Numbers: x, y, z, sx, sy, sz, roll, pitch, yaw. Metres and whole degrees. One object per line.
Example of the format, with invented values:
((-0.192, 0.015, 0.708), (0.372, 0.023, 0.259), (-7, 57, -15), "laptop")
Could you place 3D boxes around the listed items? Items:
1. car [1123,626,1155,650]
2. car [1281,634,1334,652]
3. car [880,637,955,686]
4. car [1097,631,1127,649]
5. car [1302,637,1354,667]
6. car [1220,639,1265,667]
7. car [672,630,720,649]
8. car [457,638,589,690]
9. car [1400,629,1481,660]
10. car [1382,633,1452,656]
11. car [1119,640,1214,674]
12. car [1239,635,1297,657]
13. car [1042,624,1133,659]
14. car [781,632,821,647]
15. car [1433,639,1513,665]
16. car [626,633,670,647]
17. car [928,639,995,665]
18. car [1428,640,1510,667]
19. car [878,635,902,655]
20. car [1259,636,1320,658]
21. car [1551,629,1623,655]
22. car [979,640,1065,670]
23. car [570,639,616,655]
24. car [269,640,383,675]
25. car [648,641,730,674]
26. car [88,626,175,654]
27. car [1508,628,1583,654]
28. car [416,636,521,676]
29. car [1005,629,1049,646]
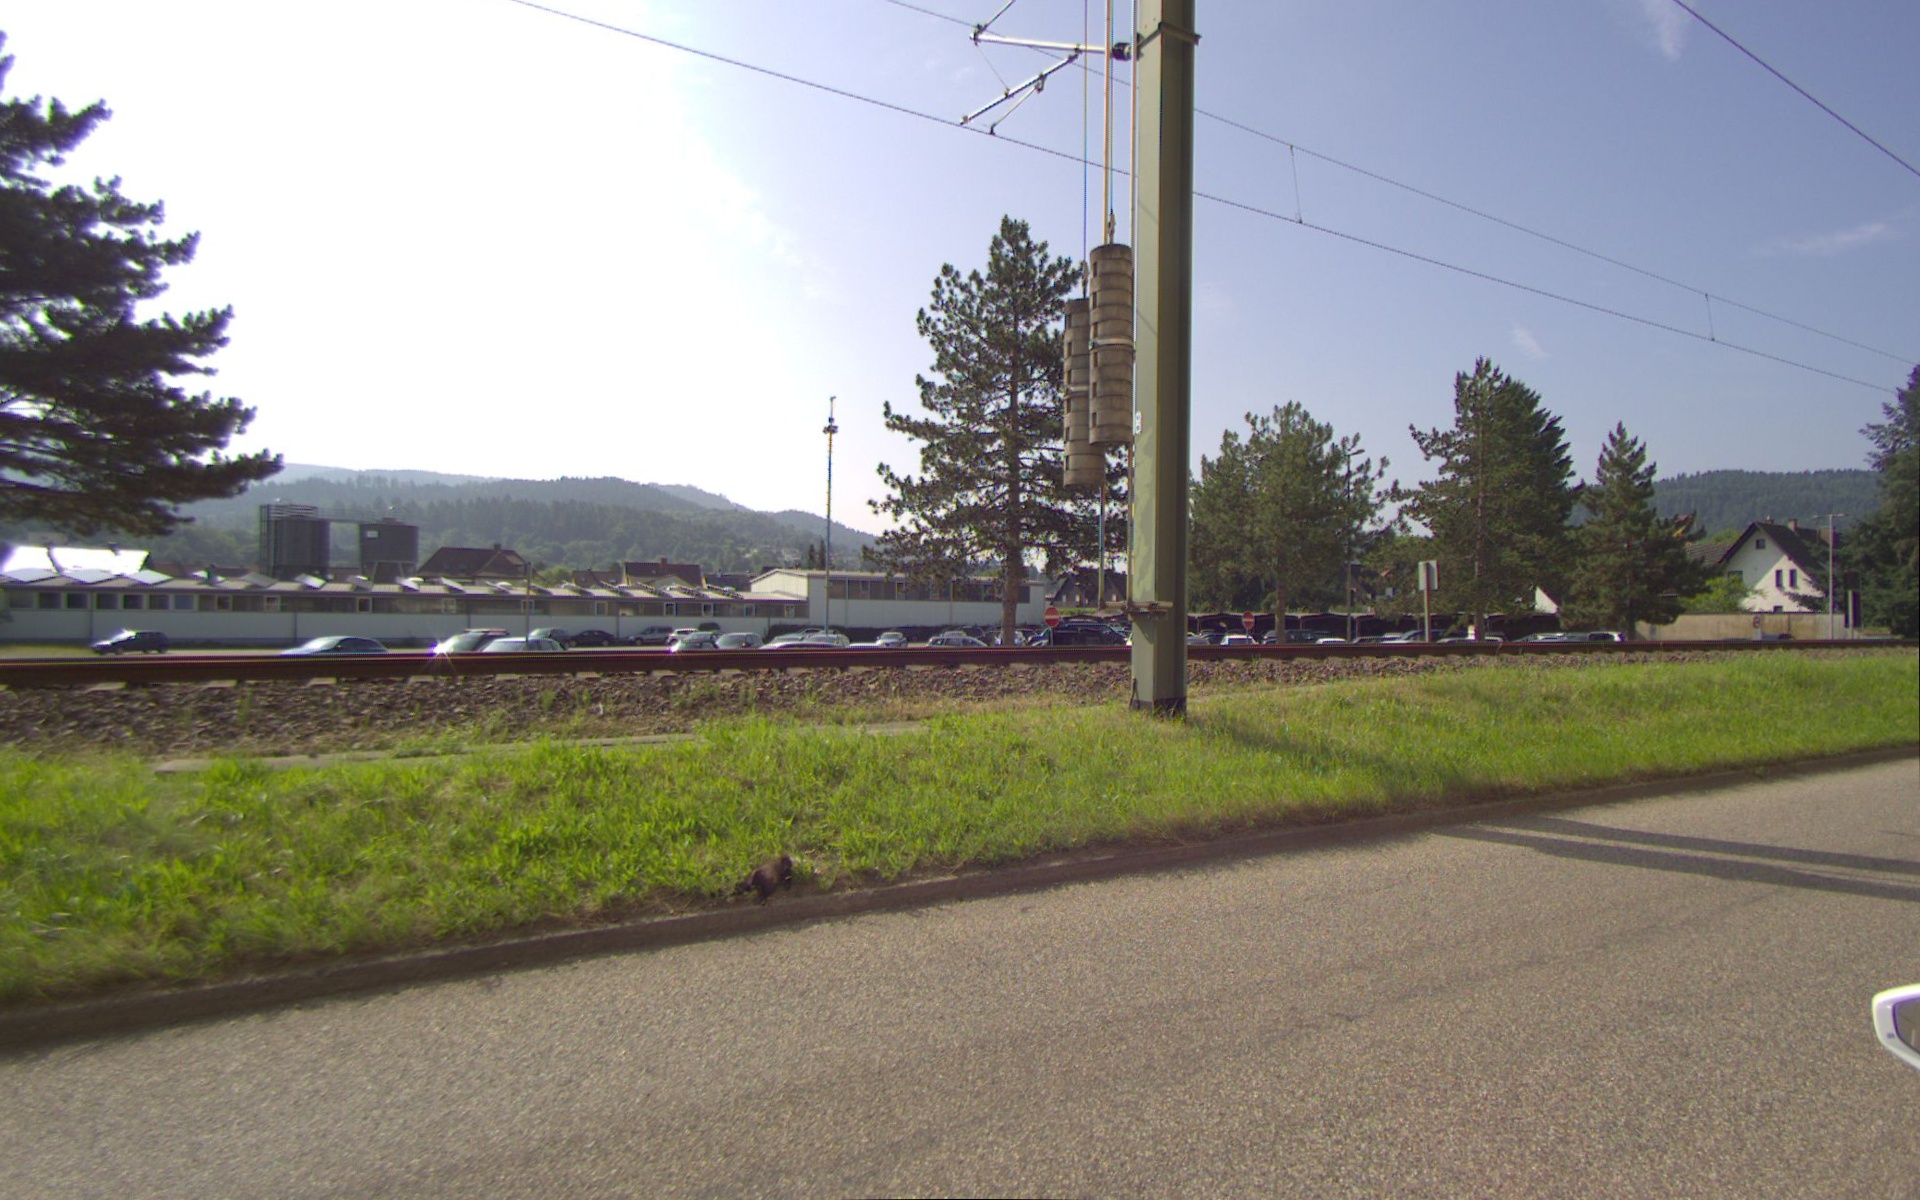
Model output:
((10.176, 2.166, 57.317), (1.428, 1.342, 3.539), (0, -2, 3), "car")
((25.909, 3.185, 74.870), (3.489, 1.342, 1.448), (-2, -2, 44), "car")
((-1.513, 2.230, 37.199), (1.654, 1.664, 3.854), (0, -2, 16), "car")
((11.065, 2.905, 73.307), (1.429, 1.342, 3.536), (0, -2, -4), "car")
((17.862, 2.505, 48.883), (1.428, 1.342, 3.538), (0, -2, 3), "car")
((14.456, 2.711, 51.528), (1.428, 1.342, 3.538), (0, -2, 3), "car")
((-21.662, 3.246, 82.407), (3.466, 1.543, 1.568), (0, -2, 3), "car")
((-13.469, 1.938, 31.219), (1.654, 1.462, 3.854), (0, -2, 16), "car")
((26.848, 2.468, 56.180), (3.729, 1.710, 1.647), (0, -1, 6), "car")
((26.742, 2.581, 58.896), (3.465, 1.342, 1.458), (0, -2, 7), "car")
((8.451, 2.322, 41.368), (3.779, 1.342, 1.566), (0, -2, 9), "car")
((20.189, 3.025, 65.956), (3.465, 1.412, 1.458), (0, -2, 7), "car")
((5.088, 1.640, 39.970), (3.450, 1.375, 1.520), (0, -2, 14), "car")
((-14.891, 3.677, 94.209), (3.496, 1.342, 1.445), (1, -2, -31), "car")
((27.367, 2.742, 53.659), (3.465, 1.342, 1.458), (0, -2, 7), "car")
((-27.107, 3.476, 87.347), (3.496, 1.125, 1.328), (1, -2, -31), "car")
((0.086, 2.681, 51.703), (3.274, 1.285, 1.458), (0, -2, 7), "car")
((25.961, 2.706, 51.314), (3.465, 1.342, 1.458), (0, -2, 7), "car")
((-5.008, 3.192, 71.770), (1.430, 1.342, 3.532), (0, -2, -8), "car")
((20.860, 2.956, 63.711), (3.465, 1.342, 1.458), (0, -2, 7), "car")
((44.242, 2.960, 70.934), (1.802, 1.688, 3.957), (1, -1, -37), "car")
((2.905, 2.574, 46.975), (3.779, 1.342, 1.566), (0, -2, 15), "car")
((-30.998, 3.973, 84.837), (3.496, 1.342, 1.445), (1, -2, -31), "car")
((-25.627, 2.295, 40.753), (1.654, 1.350, 3.855), (0, -2, 13), "car")
((-11.250, 2.357, 41.974), (1.536, 1.278, 3.855), (-1, -2, 16), "car")
((-51.397, 2.486, 62.389), (1.655, 1.664, 3.852), (-1, -2, 21), "car")
((38.911, 2.705, 66.864), (1.802, 1.557, 3.957), (1, -1, -37), "car")
((-18.909, 2.120, 38.830), (1.654, 1.425, 3.856), (0, -2, 11), "car")
((5.452, 3.029, 82.026), (3.465, 1.342, 1.458), (0, -2, 10), "car")
